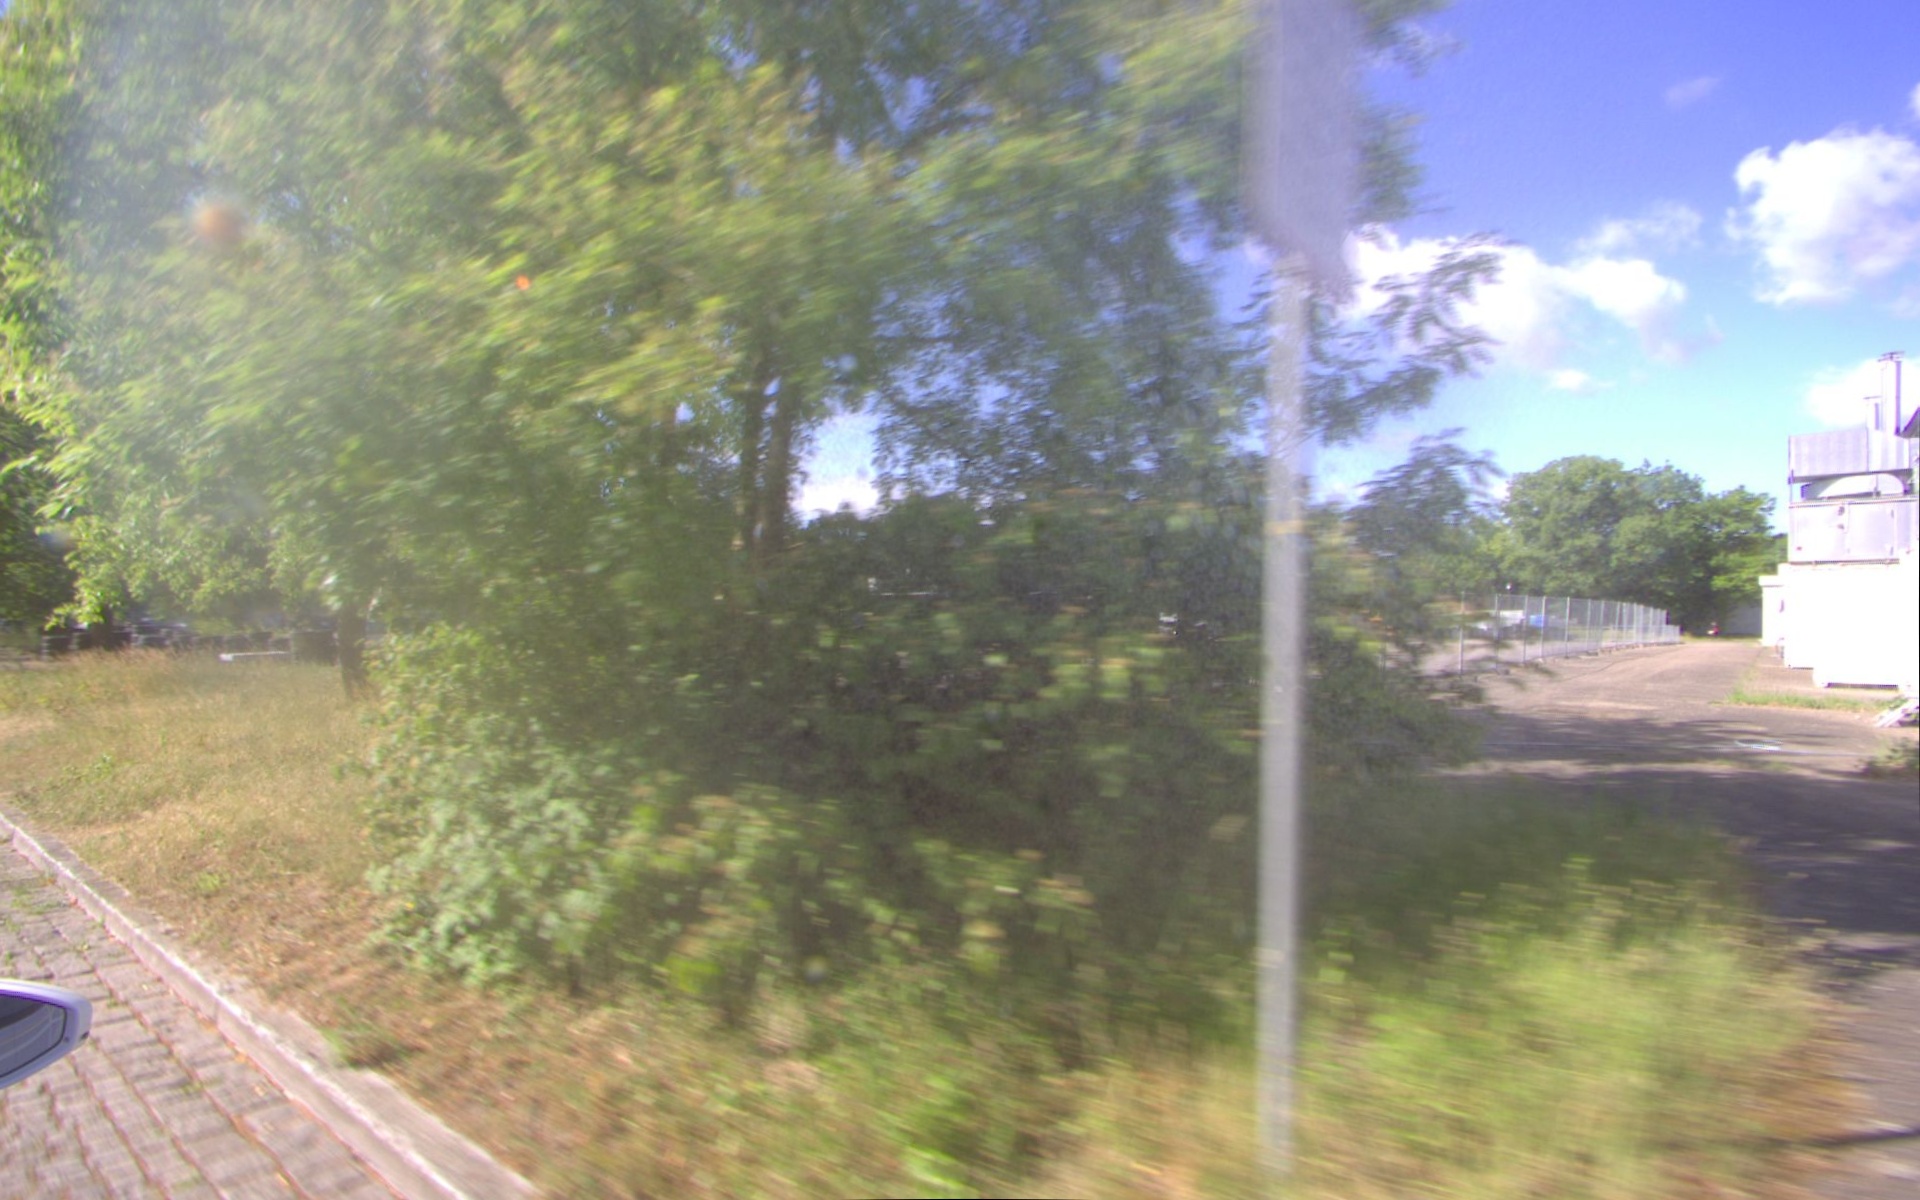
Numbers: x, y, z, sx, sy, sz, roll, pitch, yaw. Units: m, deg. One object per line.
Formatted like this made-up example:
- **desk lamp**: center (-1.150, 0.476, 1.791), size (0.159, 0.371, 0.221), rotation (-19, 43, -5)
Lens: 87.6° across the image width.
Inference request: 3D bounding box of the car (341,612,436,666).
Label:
- **car**: center (-16.235, 1.071, 28.399), size (1.531, 1.425, 3.542), rotation (1, -1, -44)
